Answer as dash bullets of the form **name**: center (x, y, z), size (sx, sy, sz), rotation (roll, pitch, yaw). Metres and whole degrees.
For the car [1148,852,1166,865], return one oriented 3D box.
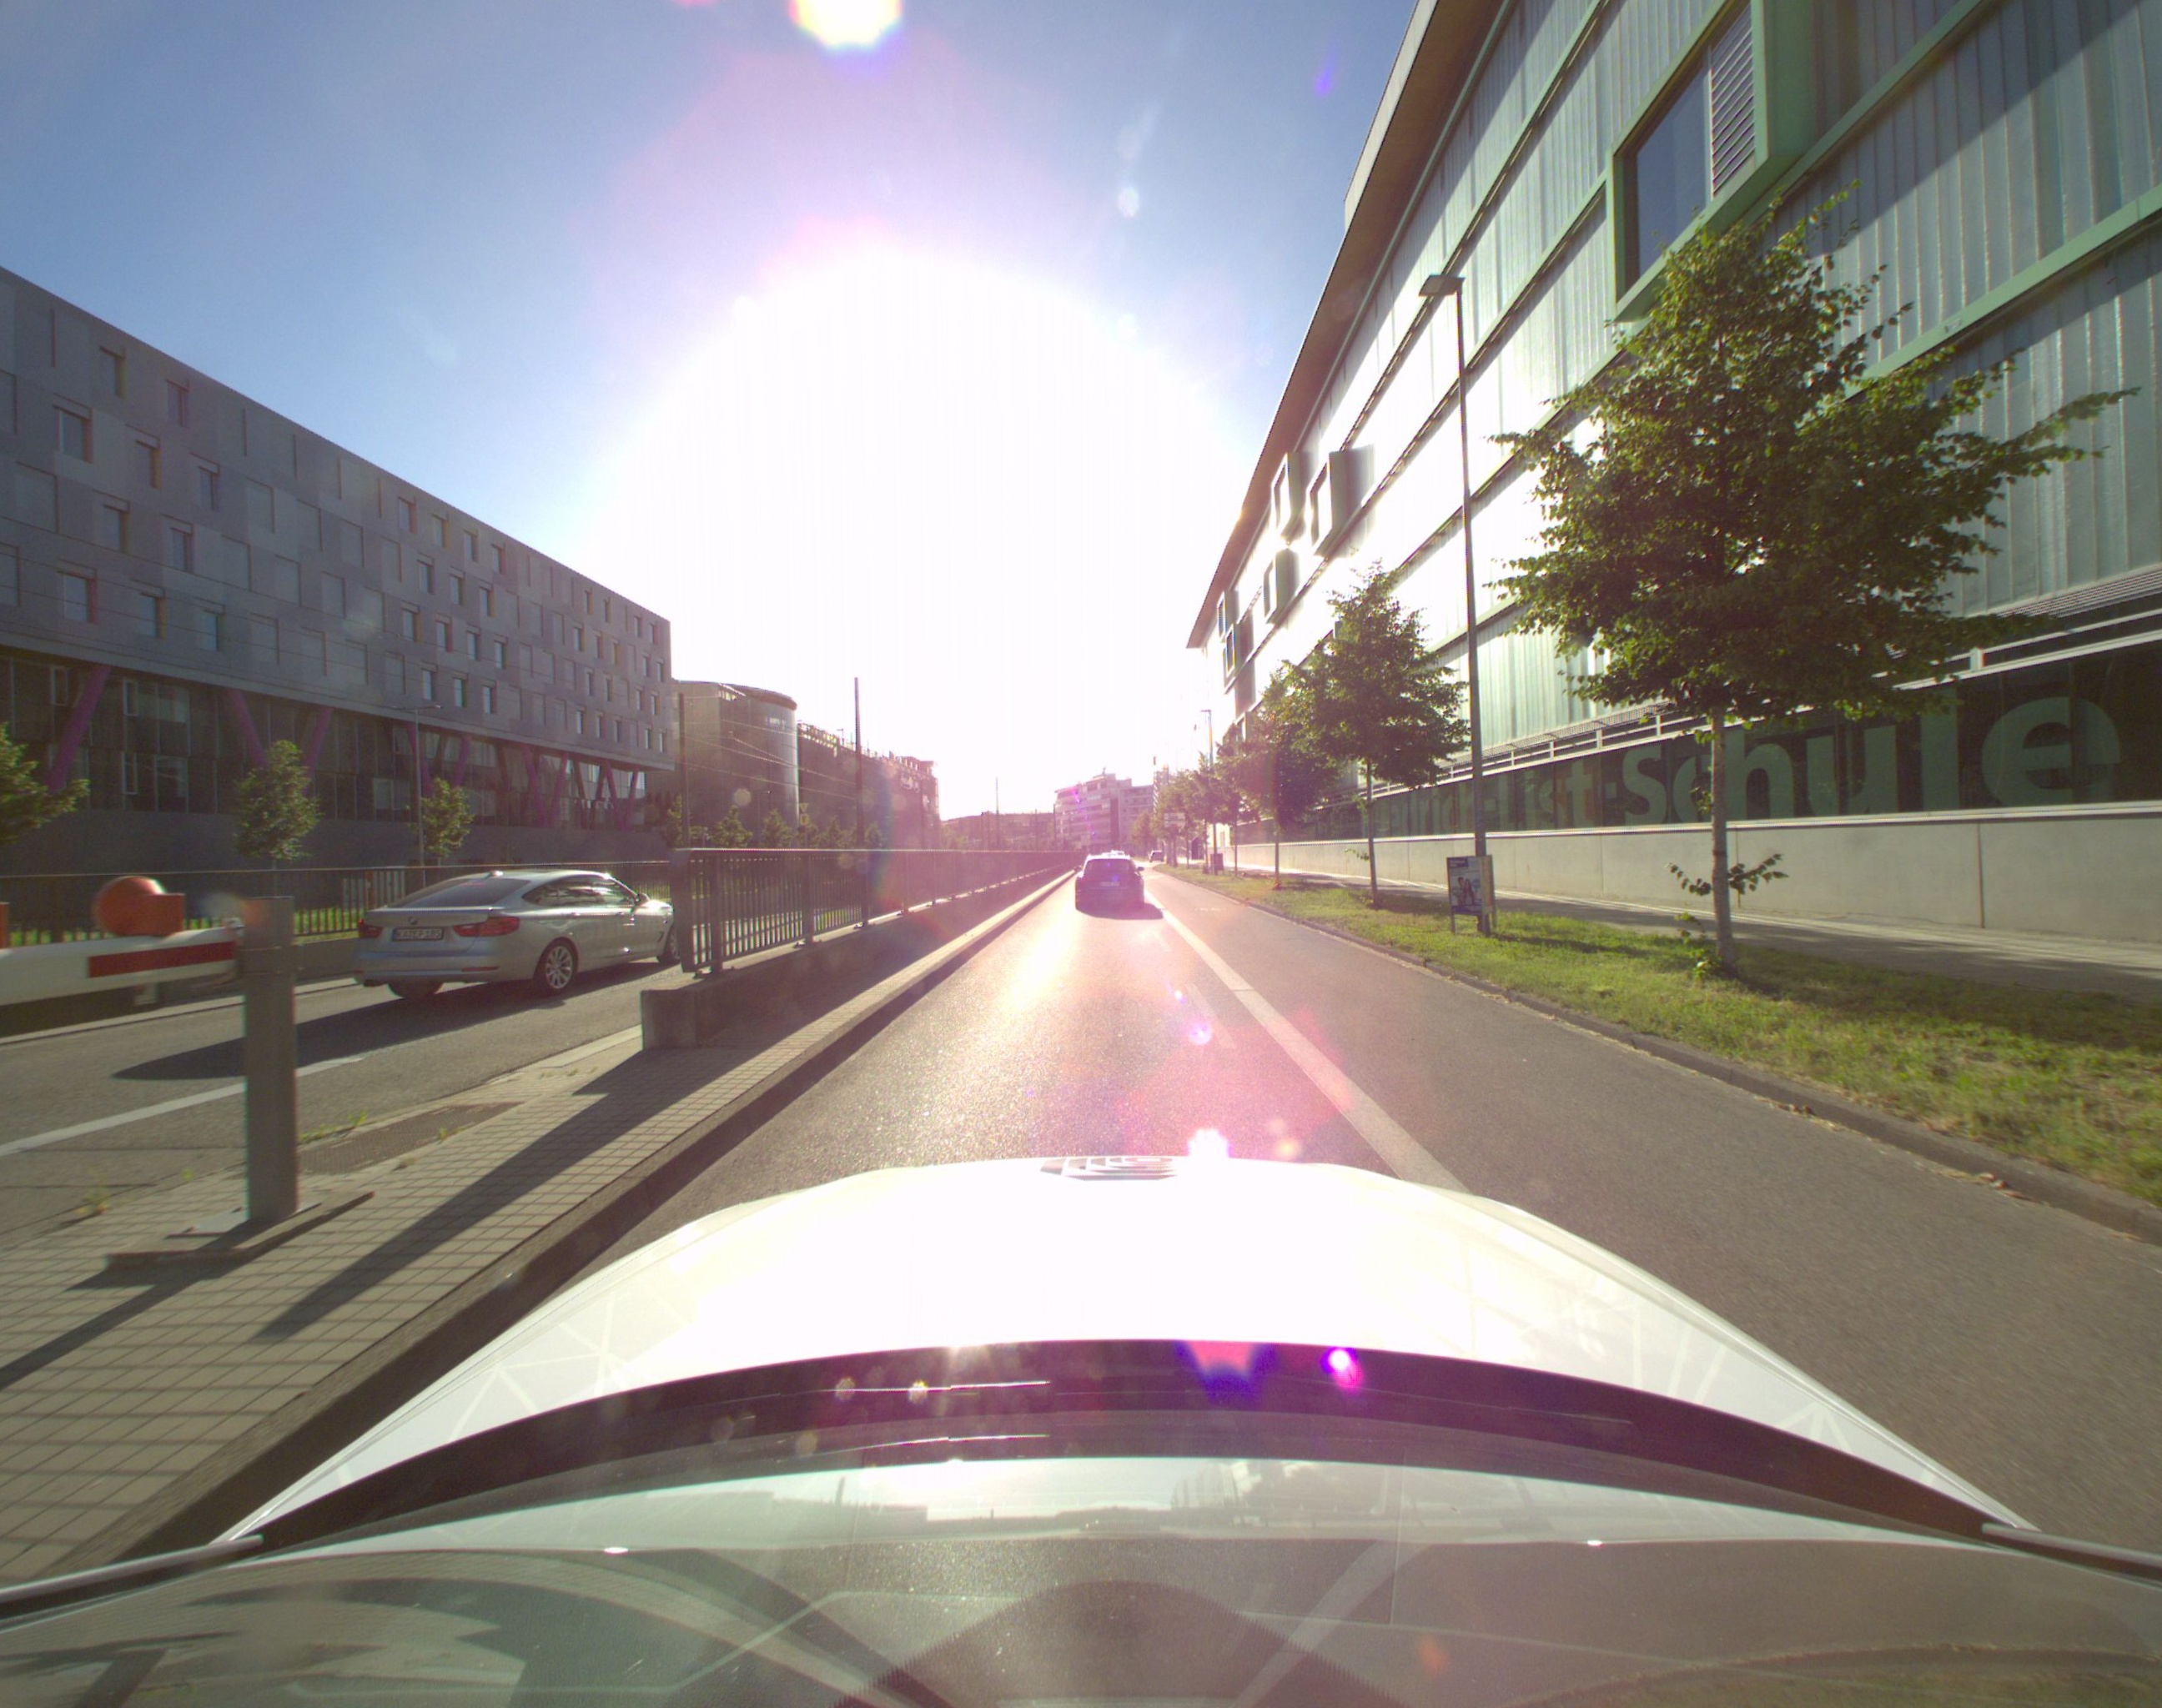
- **car**: center (9.796, 0.602, 105.597), size (1.846, 1.481, 4.855), rotation (-3, 0, 1)

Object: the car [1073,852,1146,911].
- **car**: center (0.766, 0.713, 23.146), size (1.806, 1.427, 4.690), rotation (-2, 0, 1)

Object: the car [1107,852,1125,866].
- **car**: center (4.118, 0.571, 95.675), size (1.986, 1.465, 4.002), rotation (-1, 1, 2)

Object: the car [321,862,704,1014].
- **car**: center (-7.102, 0.902, 11.009), size (1.793, 1.527, 4.908), rotation (0, 0, -1)

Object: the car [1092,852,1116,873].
- **car**: center (1.824, 0.639, 64.233), size (1.846, 1.546, 4.001), rotation (0, 0, 1)
